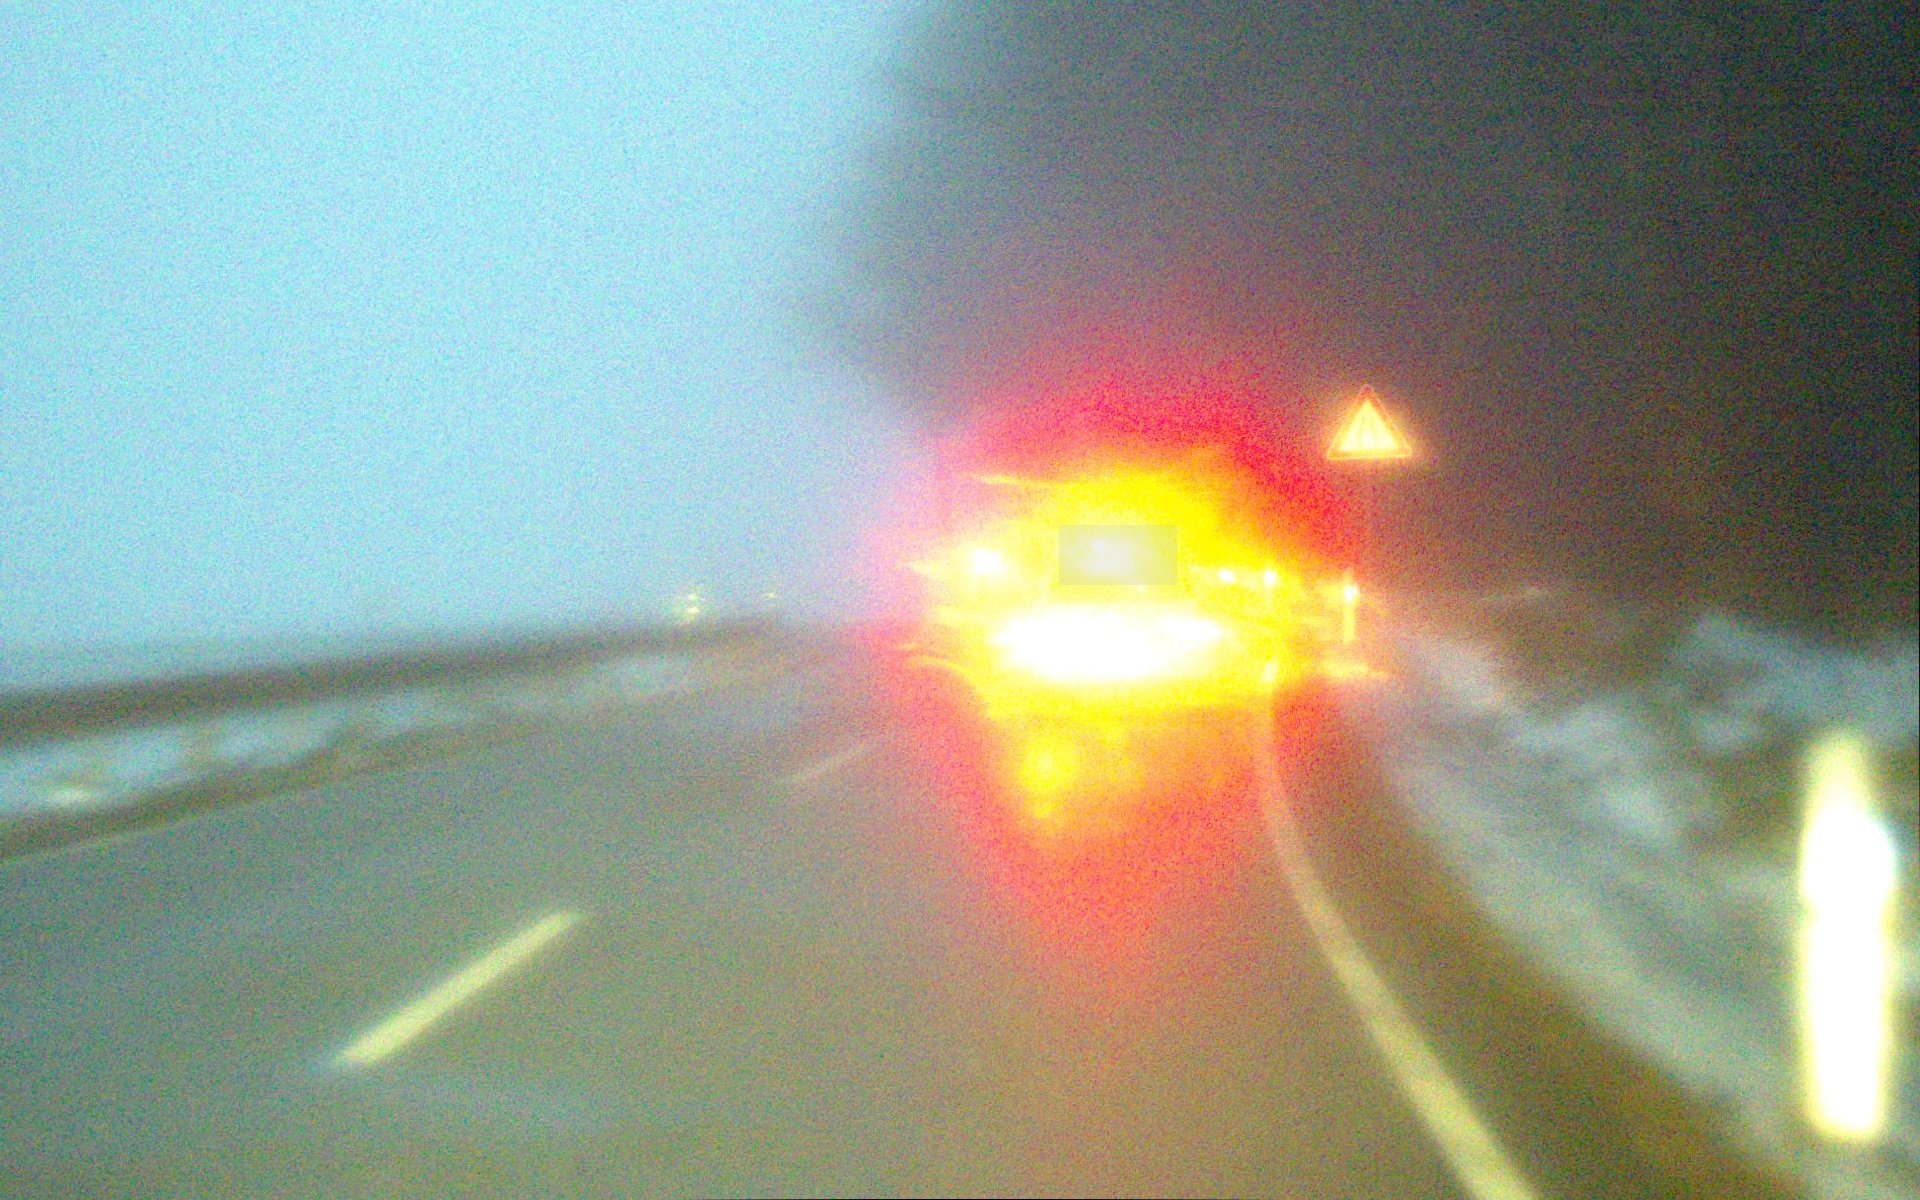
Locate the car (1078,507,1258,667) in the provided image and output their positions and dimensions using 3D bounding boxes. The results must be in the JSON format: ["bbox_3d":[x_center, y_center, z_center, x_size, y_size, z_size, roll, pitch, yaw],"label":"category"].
[{"bbox_3d":[2.464,-0.179,40.430,1.994,1.777,4.000,0,1,4],"label":"car"}]

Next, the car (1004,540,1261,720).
[{"bbox_3d":[1.520,0.221,28.907,1.946,1.376,3.999,1,0,6],"label":"car"}]
